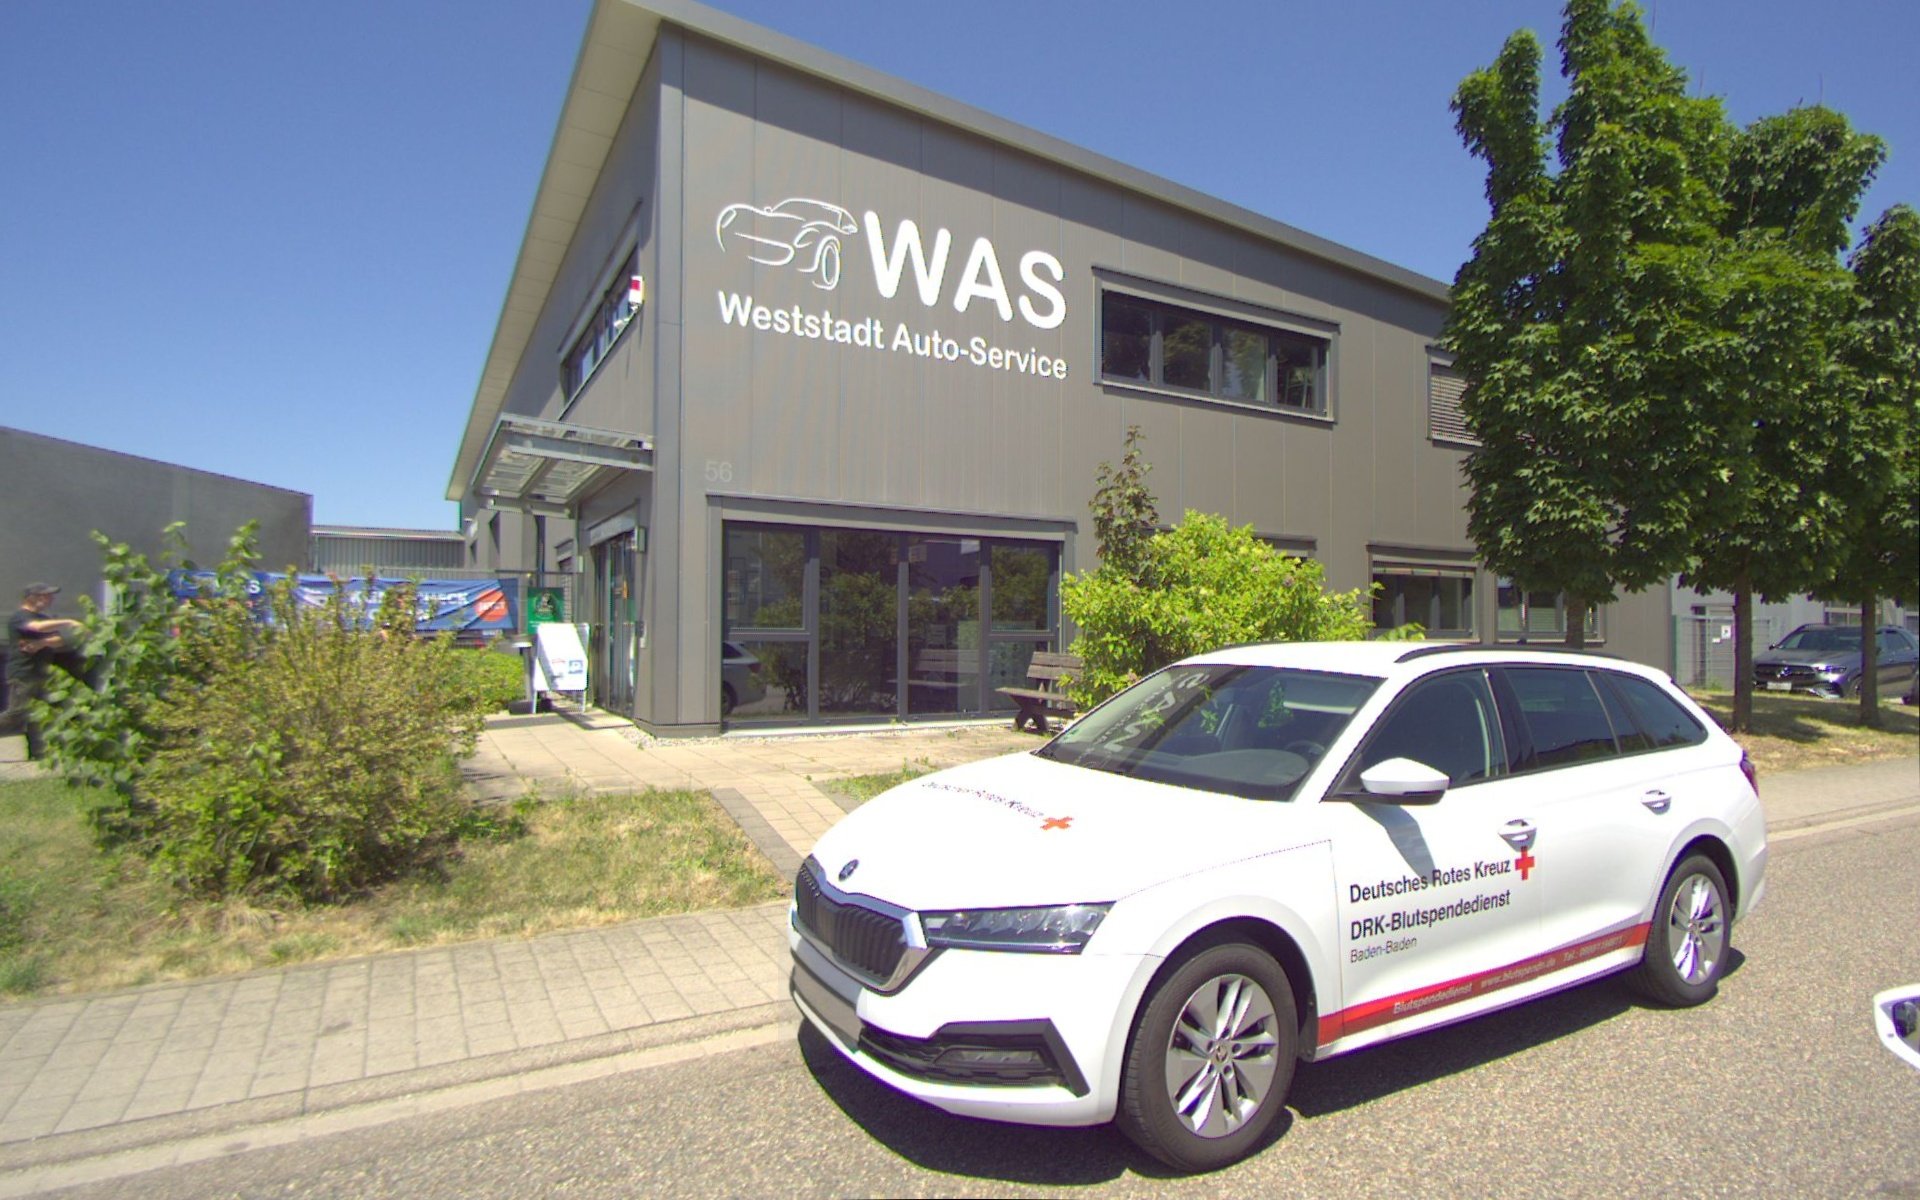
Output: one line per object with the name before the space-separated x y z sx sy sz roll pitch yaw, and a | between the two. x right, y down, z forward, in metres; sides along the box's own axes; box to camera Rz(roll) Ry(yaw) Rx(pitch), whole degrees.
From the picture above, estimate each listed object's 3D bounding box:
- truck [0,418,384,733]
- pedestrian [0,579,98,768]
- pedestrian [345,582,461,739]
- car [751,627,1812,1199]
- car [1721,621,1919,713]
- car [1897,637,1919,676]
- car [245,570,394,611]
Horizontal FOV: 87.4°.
truck | -12.263 -0.248 15.091 2.535 3.604 8.064 1 -1 0
pedestrian | -9.212 0.686 9.796 0.997 1.748 0.931 1 -1 31
pedestrian | -6.320 0.657 11.426 1.071 1.667 0.721 -2 0 -30
car | 1.549 0.888 4.212 4.438 1.477 1.722 2 -2 -30
car | 18.865 1.357 21.648 4.848 1.758 1.987 0 0 -26
car | 39.574 2.261 39.707 1.542 1.572 3.479 1 -2 -34
car | -24.021 -0.319 37.800 4.334 1.441 1.786 1 -1 -10
